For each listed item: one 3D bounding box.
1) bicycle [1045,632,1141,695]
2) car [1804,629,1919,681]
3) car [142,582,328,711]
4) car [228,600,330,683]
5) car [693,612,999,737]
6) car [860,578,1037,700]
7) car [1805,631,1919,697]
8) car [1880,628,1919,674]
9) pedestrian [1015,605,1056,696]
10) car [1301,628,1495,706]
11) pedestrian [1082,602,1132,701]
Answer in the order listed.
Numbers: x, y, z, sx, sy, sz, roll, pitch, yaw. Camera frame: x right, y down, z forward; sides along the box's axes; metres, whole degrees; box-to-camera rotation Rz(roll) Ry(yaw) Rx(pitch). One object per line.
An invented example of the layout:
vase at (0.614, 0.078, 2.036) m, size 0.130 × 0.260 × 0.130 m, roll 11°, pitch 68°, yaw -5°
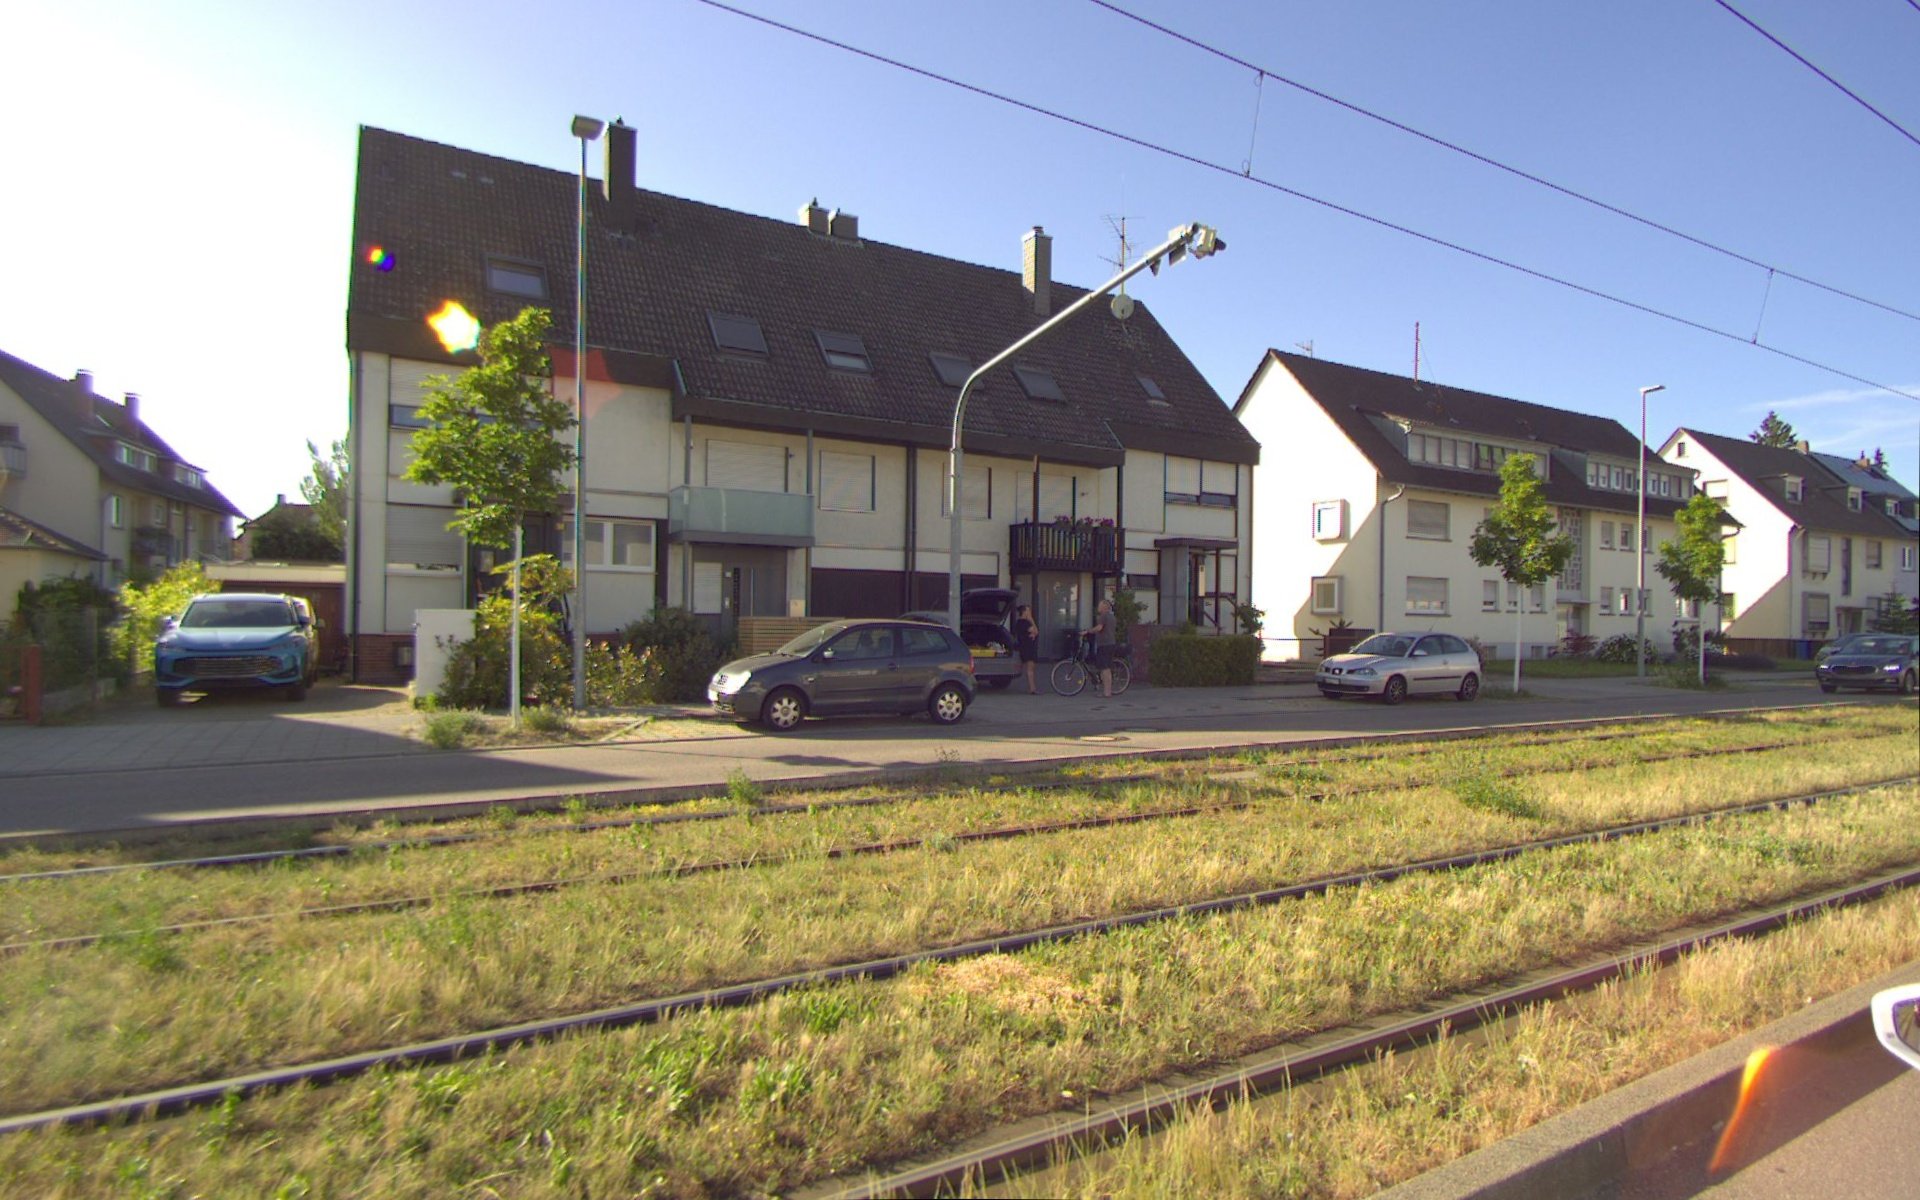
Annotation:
bicycle at (2.588, 1.229, 19.461) m, size 1.845 × 1.178 × 0.476 m, roll 2°, pitch 0°, yaw -24°
car at (29.101, 1.753, 32.296) m, size 4.265 × 1.492 × 1.680 m, roll 2°, pitch 0°, yaw -31°
car at (-11.620, 0.665, 16.410) m, size 1.946 × 1.807 × 4.372 m, roll 1°, pitch 0°, yaw -29°
car at (-14.445, 0.821, 21.460) m, size 1.492 × 1.614 × 3.816 m, roll 1°, pitch -1°, yaw -30°
car at (-1.589, 0.989, 14.360) m, size 4.035 × 1.532 × 1.612 m, roll 1°, pitch 0°, yaw -29°
car at (-0.375, 0.702, 20.870) m, size 1.765 × 2.108 × 4.442 m, roll 2°, pitch 2°, yaw -28°
car at (23.558, 1.604, 25.737) m, size 4.036 × 1.495 × 1.680 m, roll 2°, pitch 0°, yaw -31°
car at (34.248, 1.807, 35.233) m, size 4.392 × 1.495 × 1.680 m, roll 2°, pitch 0°, yaw -31°
pedestrian at (1.461, 0.972, 19.504) m, size 0.613 × 1.710 × 0.551 m, roll 2°, pitch 0°, yaw -14°
car at (9.136, 1.336, 20.886) m, size 4.056 × 1.455 × 1.650 m, roll 1°, pitch 0°, yaw -31°
pedestrian at (2.795, 0.964, 19.115) m, size 0.673 × 1.839 × 0.610 m, roll 2°, pitch 1°, yaw -38°
